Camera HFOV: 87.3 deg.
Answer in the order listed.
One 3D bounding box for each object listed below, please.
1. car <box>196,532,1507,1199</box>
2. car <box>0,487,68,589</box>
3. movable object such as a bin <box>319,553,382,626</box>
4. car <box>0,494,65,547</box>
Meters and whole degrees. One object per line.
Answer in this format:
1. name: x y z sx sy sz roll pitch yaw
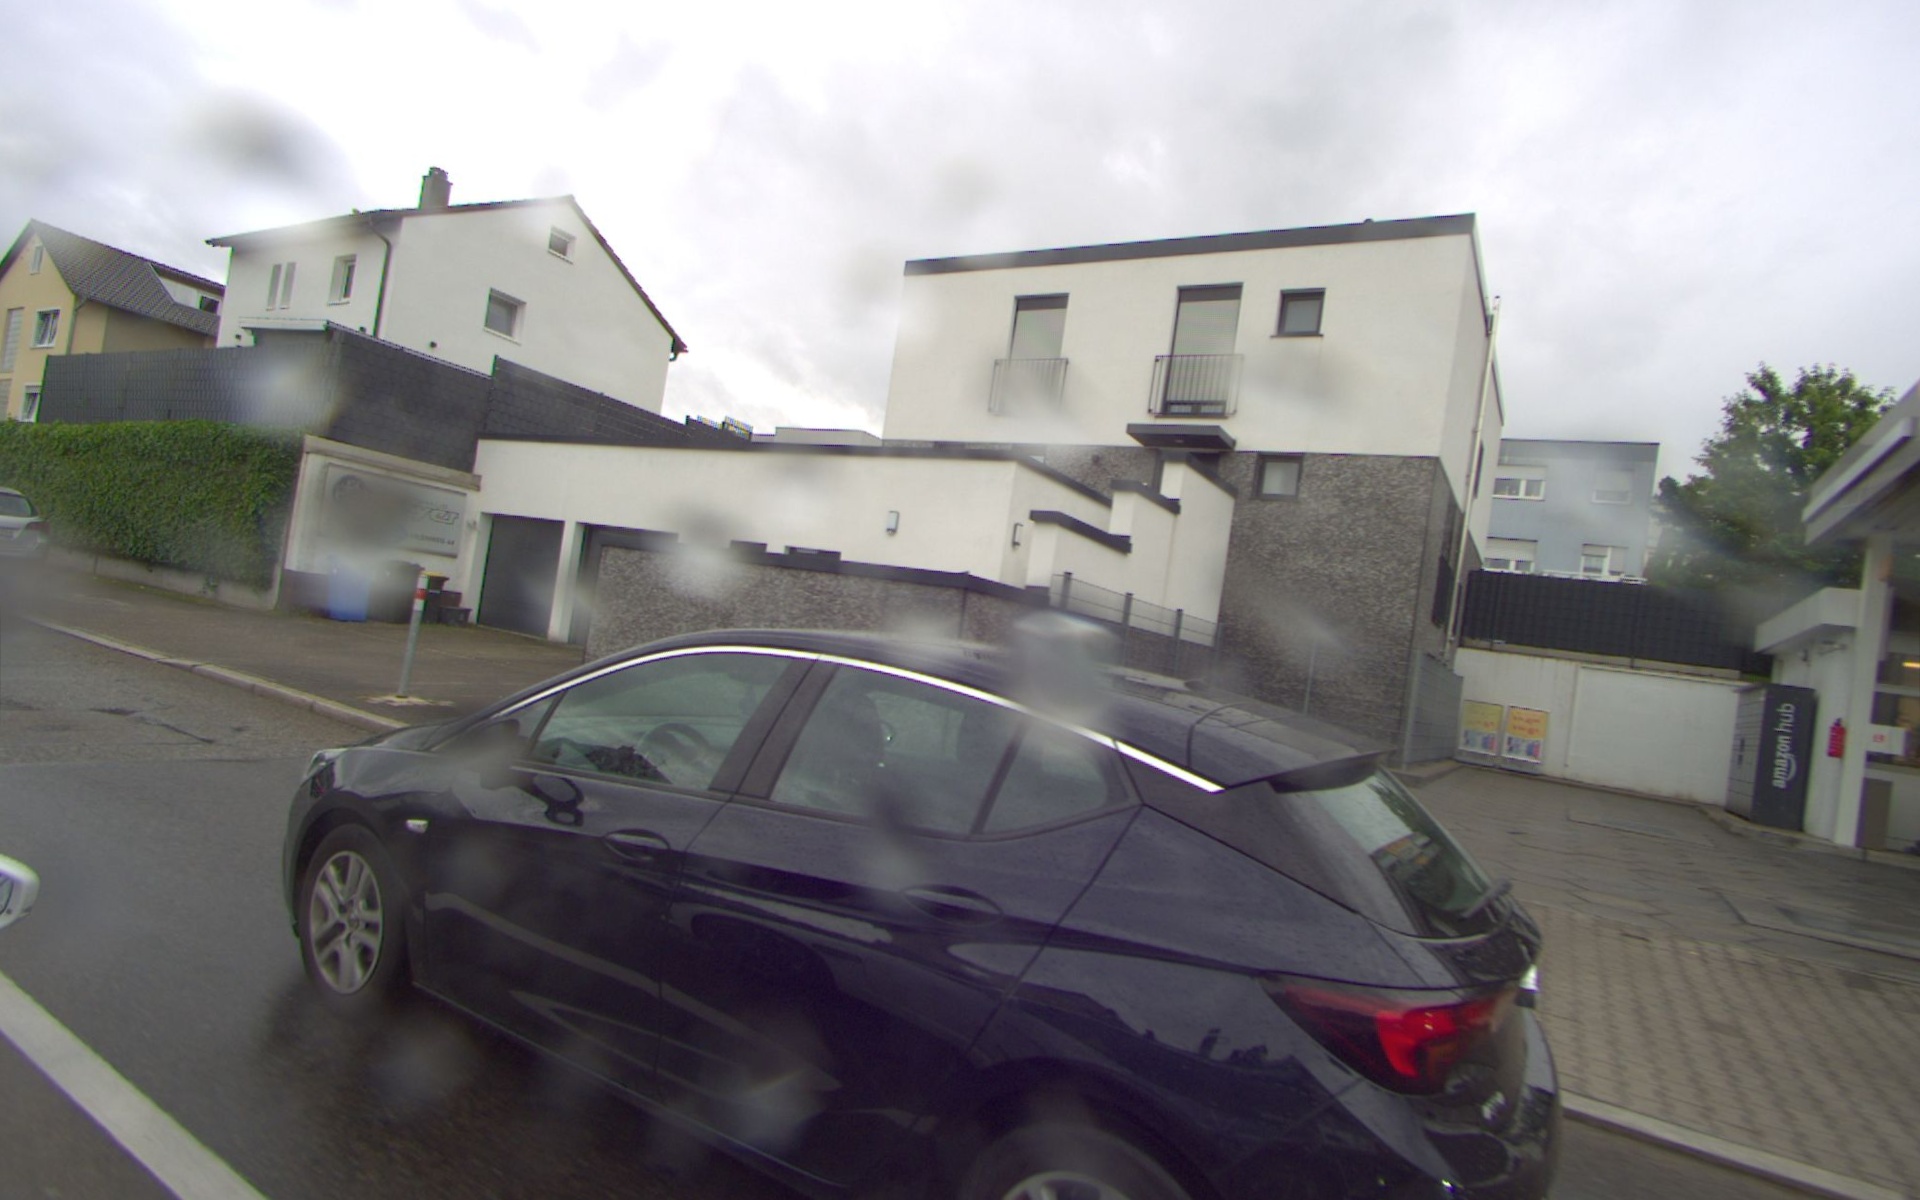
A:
1. car: -0.552 0.759 3.321 3.934 1.466 1.760 6 -2 32
2. car: -17.151 -1.240 17.061 4.459 1.527 1.704 6 -2 32
3. movable object such as a bin: -10.214 -0.176 16.865 0.656 1.119 0.596 7 2 31
4. car: -30.644 -2.681 31.087 1.837 1.450 3.994 7 -1 30
